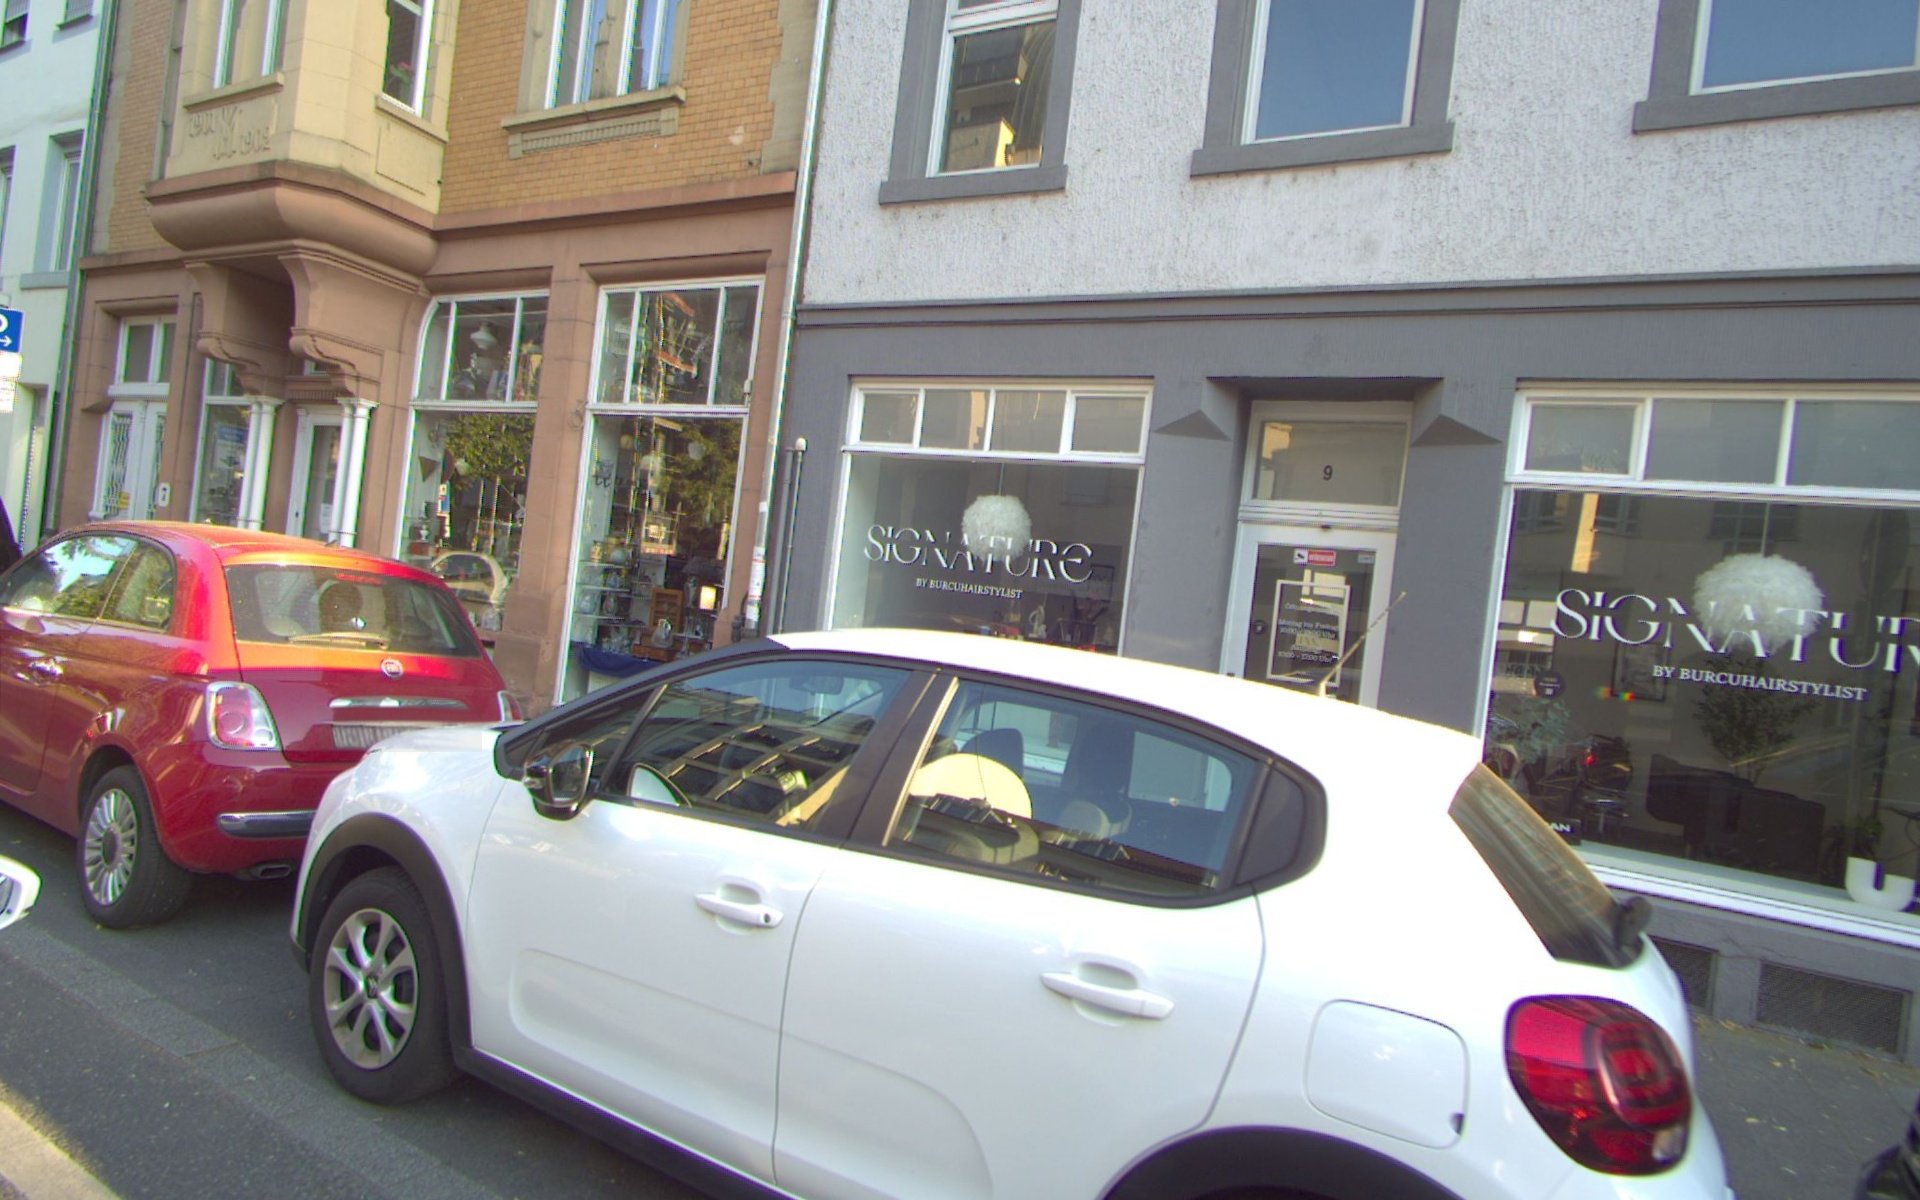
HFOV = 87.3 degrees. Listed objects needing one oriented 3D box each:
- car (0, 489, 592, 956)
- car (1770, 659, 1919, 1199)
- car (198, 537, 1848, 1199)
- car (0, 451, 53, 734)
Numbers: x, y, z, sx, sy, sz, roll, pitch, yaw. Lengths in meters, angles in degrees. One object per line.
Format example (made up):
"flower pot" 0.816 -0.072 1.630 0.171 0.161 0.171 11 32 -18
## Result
"car" -3.598 0.372 4.855 3.211 1.501 1.591 6 -2 30
"car" 3.477 1.120 0.739 4.133 1.687 1.817 6 -2 28
"car" -0.205 0.755 2.897 3.737 1.394 1.671 6 -2 28
"car" -8.064 -0.316 6.337 4.290 1.714 1.831 6 -2 25
